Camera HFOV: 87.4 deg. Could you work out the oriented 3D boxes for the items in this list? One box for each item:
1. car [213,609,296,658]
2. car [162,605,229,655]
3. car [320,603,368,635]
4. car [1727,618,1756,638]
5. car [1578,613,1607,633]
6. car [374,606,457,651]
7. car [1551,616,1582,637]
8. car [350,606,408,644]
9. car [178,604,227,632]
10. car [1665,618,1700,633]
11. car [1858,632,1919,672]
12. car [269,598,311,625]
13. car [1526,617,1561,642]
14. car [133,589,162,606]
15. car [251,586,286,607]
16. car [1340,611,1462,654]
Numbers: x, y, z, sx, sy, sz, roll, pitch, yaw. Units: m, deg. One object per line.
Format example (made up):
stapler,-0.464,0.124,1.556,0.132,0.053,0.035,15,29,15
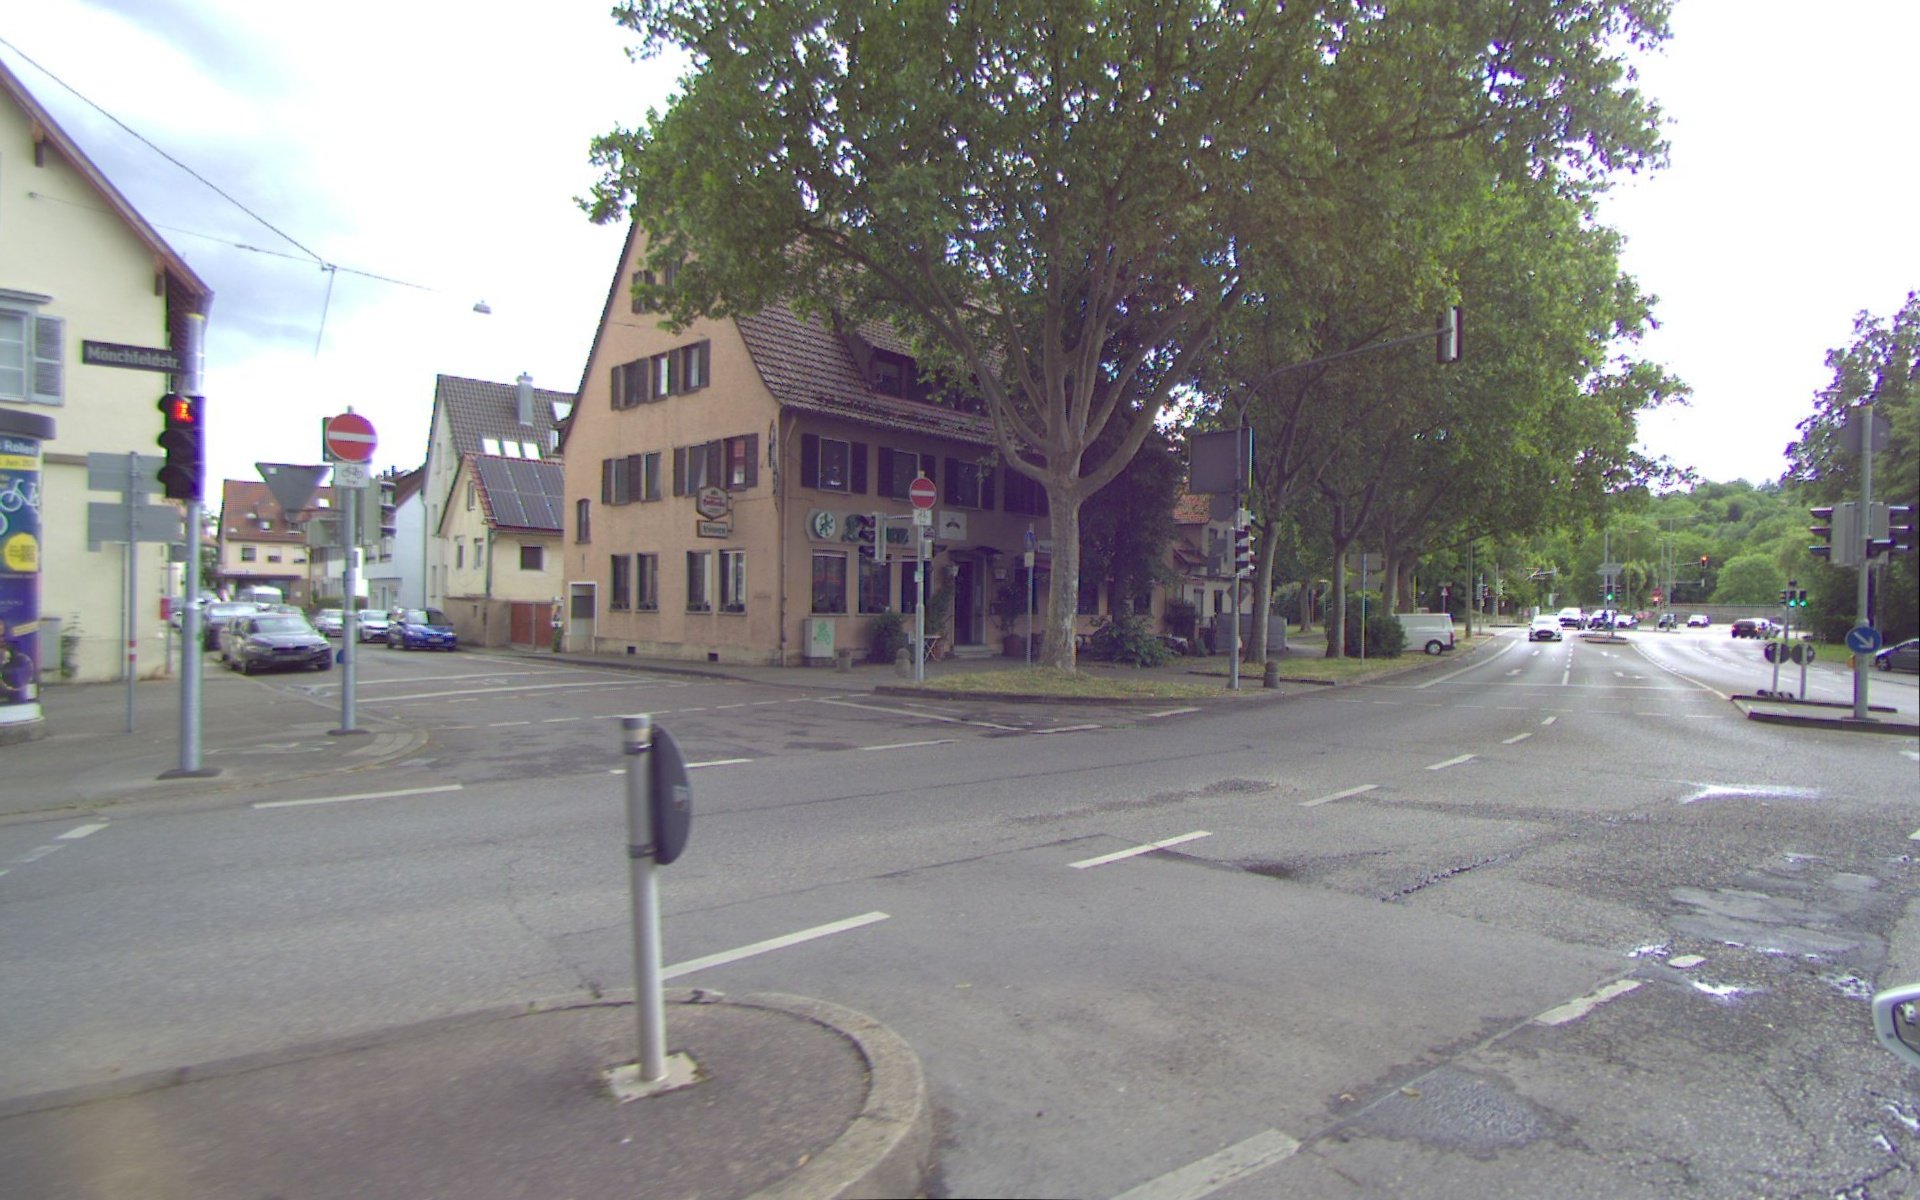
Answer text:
car,-21.029,0.979,29.889,1.698,1.332,3.819,2,-1,-40
car,-27.983,1.056,36.737,1.732,1.706,3.798,1,-1,-40
car,-32.208,0.957,52.441,1.750,1.574,3.673,1,-1,-38
car,62.402,2.228,80.230,1.800,1.529,4.555,1,-1,38
car,59.436,2.156,94.358,1.887,1.787,4.733,1,0,37
car,-20.026,1.021,36.918,1.815,1.534,3.622,2,-1,-43
car,50.065,2.187,82.891,1.773,1.608,4.398,-2,-1,36
car,-25.869,1.089,44.699,1.750,1.574,3.673,1,-1,-38
car,-42.855,1.008,56.807,1.815,1.534,3.622,2,-1,-43
car,82.467,2.911,114.595,1.426,1.258,3.025,-16,13,-40
car,38.586,2.109,40.236,1.699,1.448,4.113,1,1,3
car,-45.351,0.757,67.951,1.983,1.773,3.955,1,0,-39
car,36.178,1.820,62.263,1.738,1.485,4.012,0,-2,32
car,-76.833,-0.251,94.953,1.815,1.534,3.622,2,-1,-43
car,-56.585,-0.269,82.159,1.815,1.598,3.622,2,-1,-43
car,20.830,1.523,47.718,5.140,1.957,2.084,-1,-1,20
